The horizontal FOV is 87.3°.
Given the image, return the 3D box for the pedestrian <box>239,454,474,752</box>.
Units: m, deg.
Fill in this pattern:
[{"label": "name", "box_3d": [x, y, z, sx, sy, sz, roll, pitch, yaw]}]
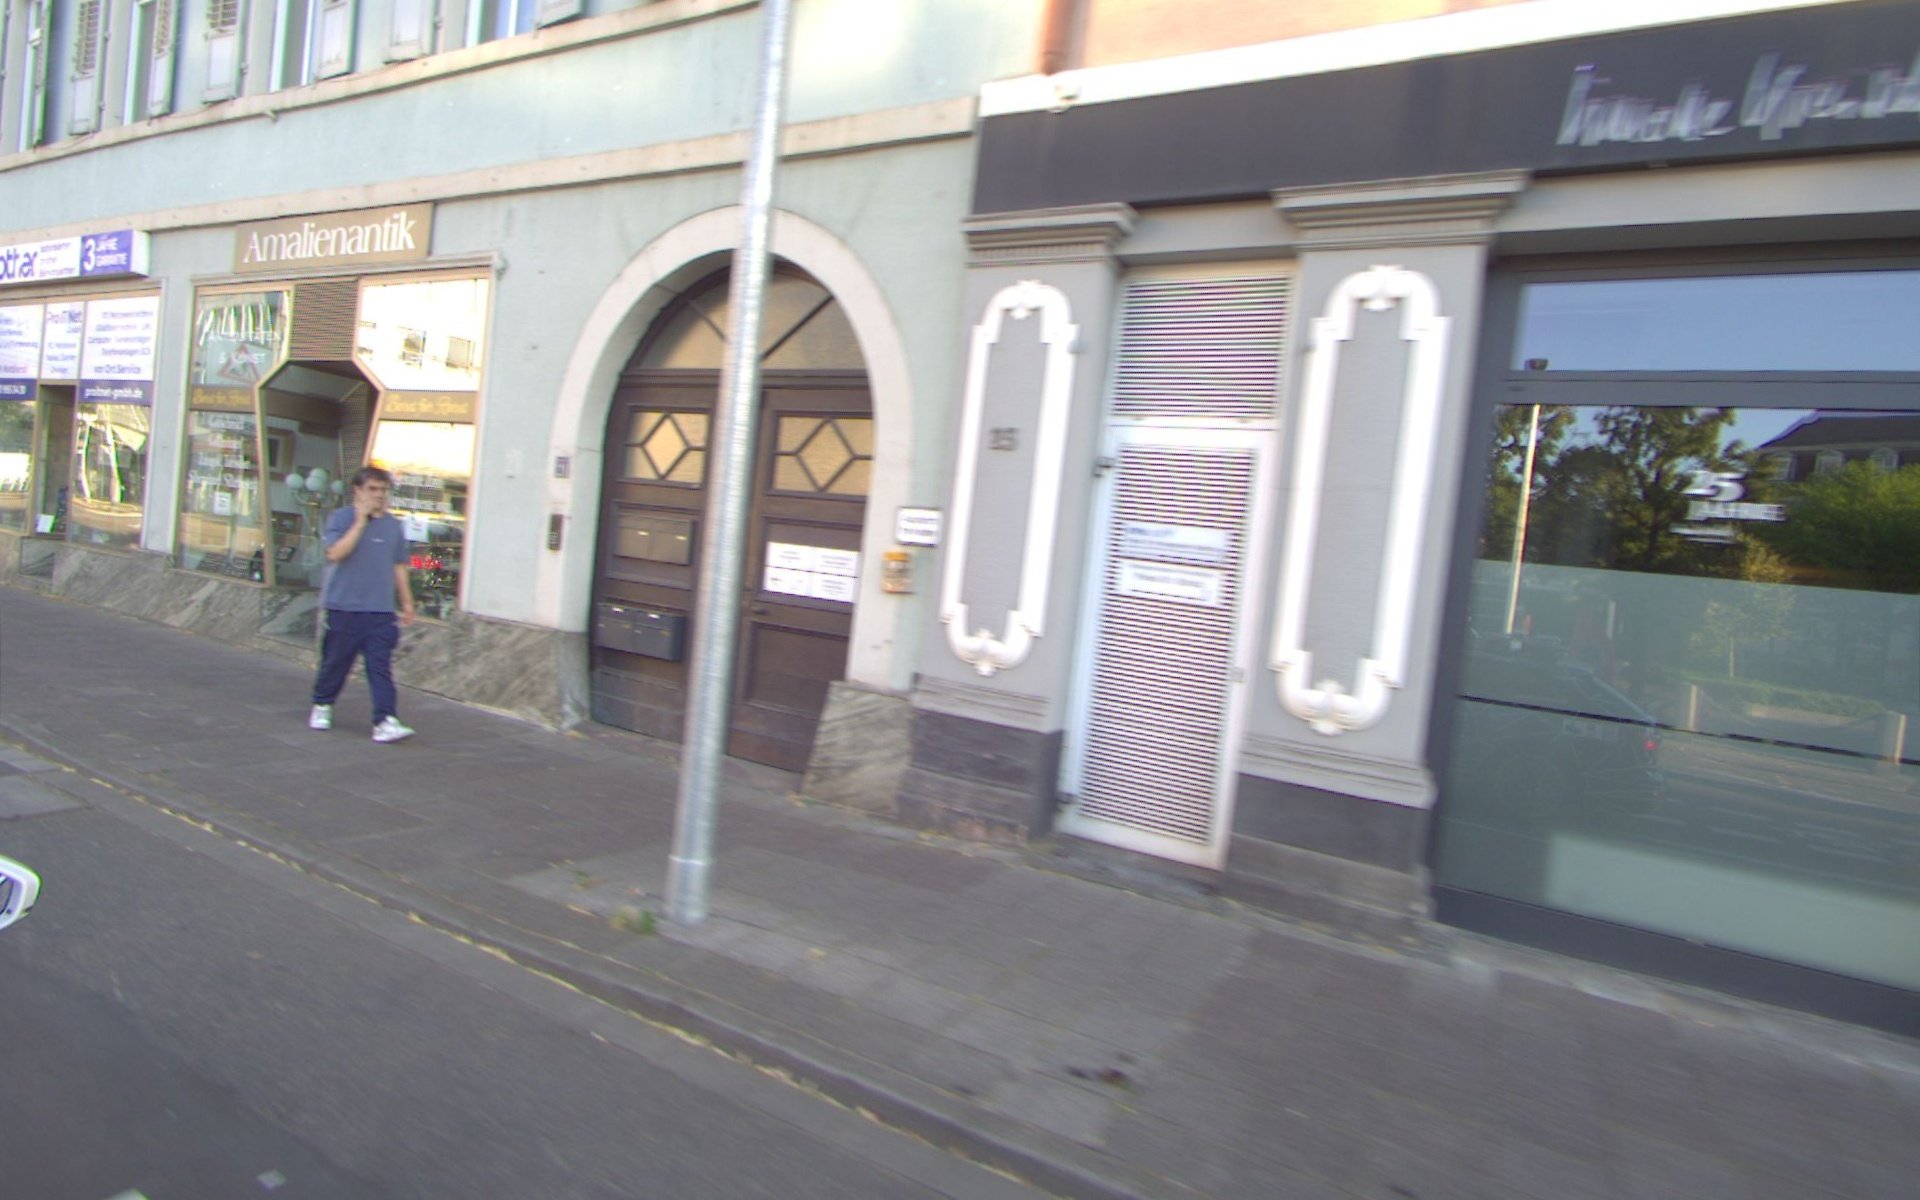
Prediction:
[{"label": "pedestrian", "box_3d": [-3.753, 0.010, 6.282, 0.856, 1.663, 0.824, 8, 2, 27]}]
